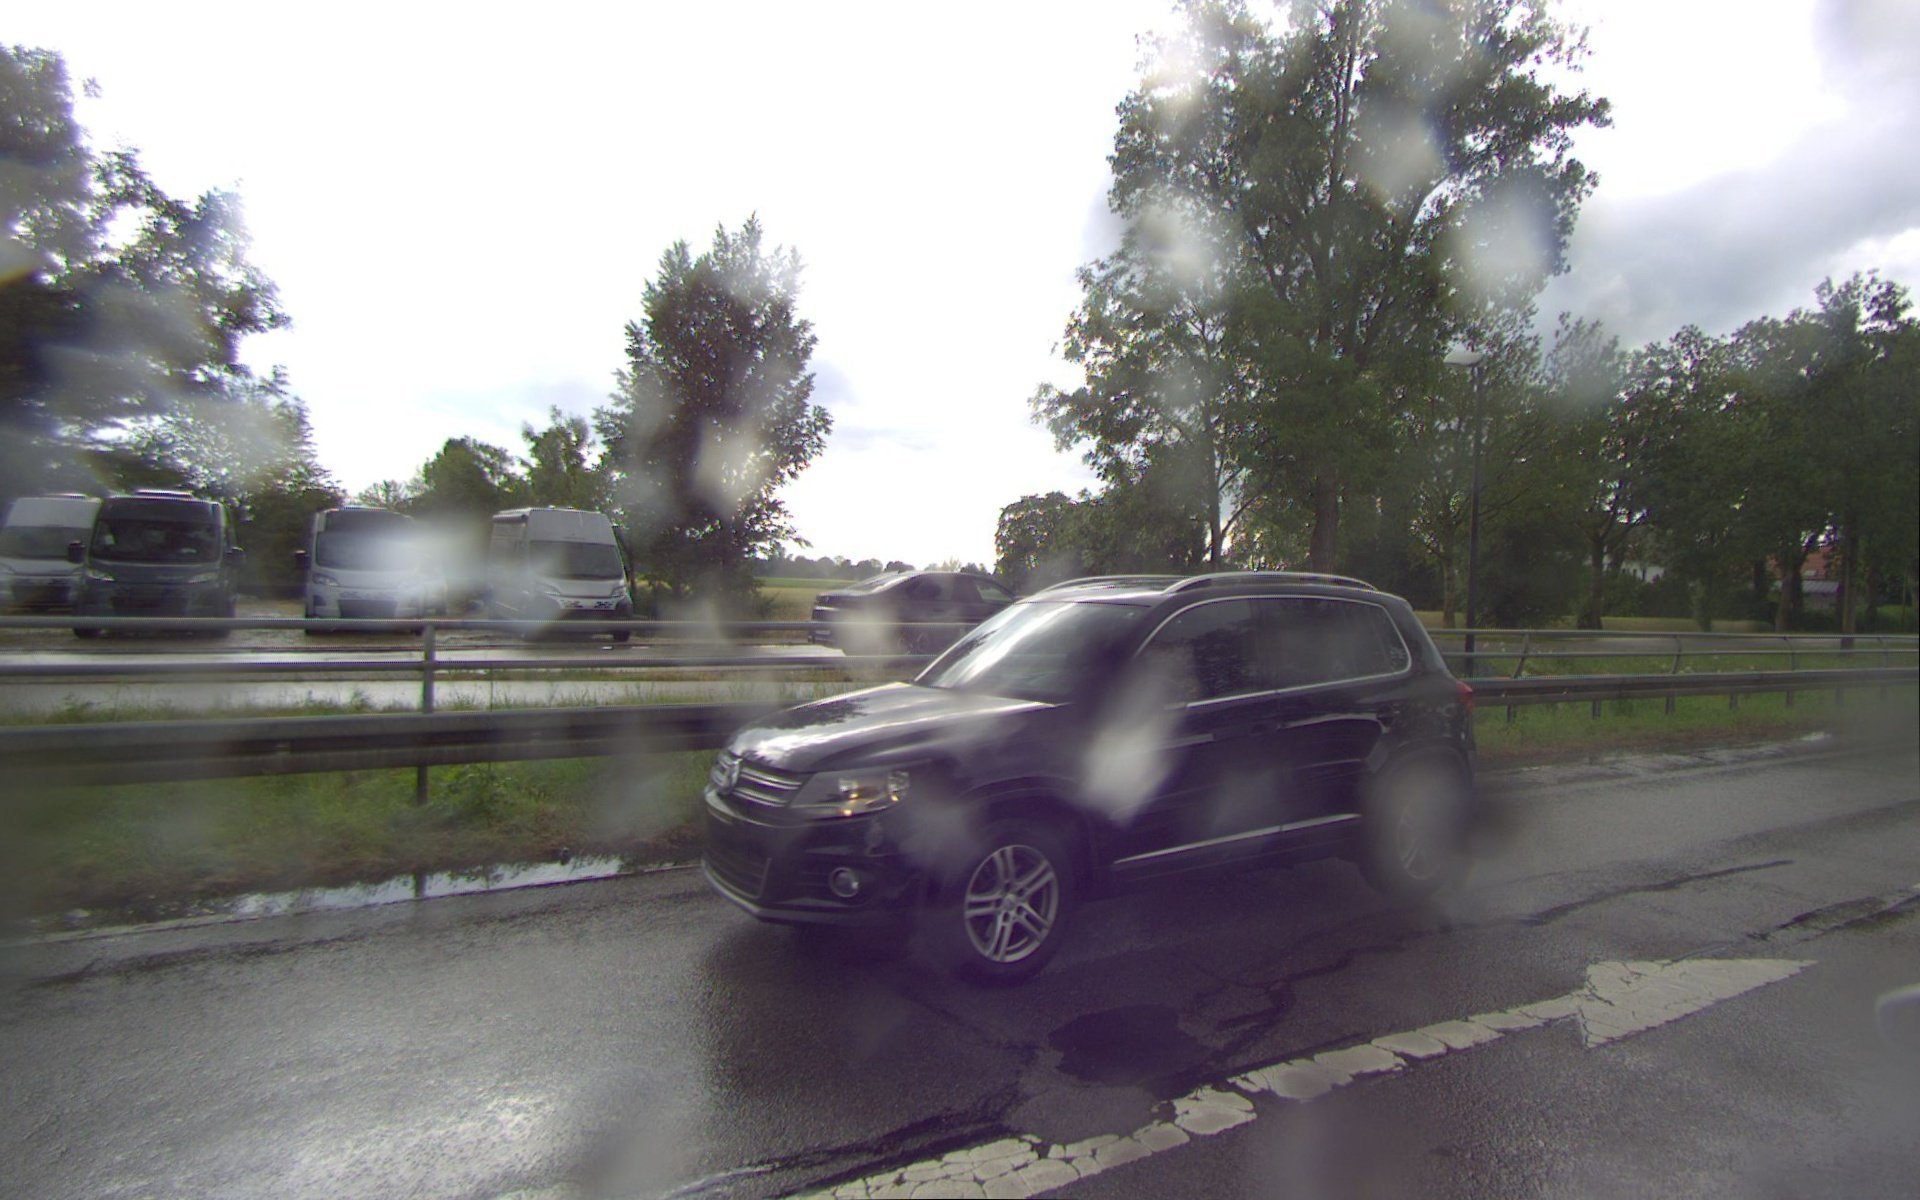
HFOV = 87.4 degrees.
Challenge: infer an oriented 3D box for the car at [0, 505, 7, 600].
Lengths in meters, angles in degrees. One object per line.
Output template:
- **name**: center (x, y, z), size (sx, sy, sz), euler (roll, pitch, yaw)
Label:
- **car**: center (-24.536, -1.165, 23.338), size (2.066, 2.449, 6.063), euler (1, 1, -30)

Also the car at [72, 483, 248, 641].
- **car**: center (-14.723, -0.691, 18.779), size (1.978, 2.535, 5.152), euler (1, 2, -32)

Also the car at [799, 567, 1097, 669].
- **car**: center (-0.087, 0.293, 17.135), size (5.068, 1.511, 1.506), euler (1, 2, -34)

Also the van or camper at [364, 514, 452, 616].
- **van or camper**: center (-16.001, -1.001, 28.960), size (1.977, 2.625, 5.773), euler (1, 2, -31)

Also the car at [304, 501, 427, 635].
- **car**: center (-12.650, -0.673, 21.302), size (1.978, 2.492, 5.062), euler (1, 2, -32)

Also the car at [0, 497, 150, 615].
- **car**: center (-21.957, -1.061, 24.815), size (2.066, 2.573, 6.063), euler (1, 1, -30)

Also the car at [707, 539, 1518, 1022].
- **car**: center (0.901, 0.647, 5.206), size (3.954, 1.641, 1.755), euler (1, 0, -31)

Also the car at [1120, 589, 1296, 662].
- **car**: center (5.209, 0.516, 20.892), size (3.859, 1.349, 1.274), euler (1, 3, -35)

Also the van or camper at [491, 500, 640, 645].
- **van or camper**: center (-8.745, -0.608, 21.887), size (2.058, 2.713, 5.843), euler (1, 2, -31)
